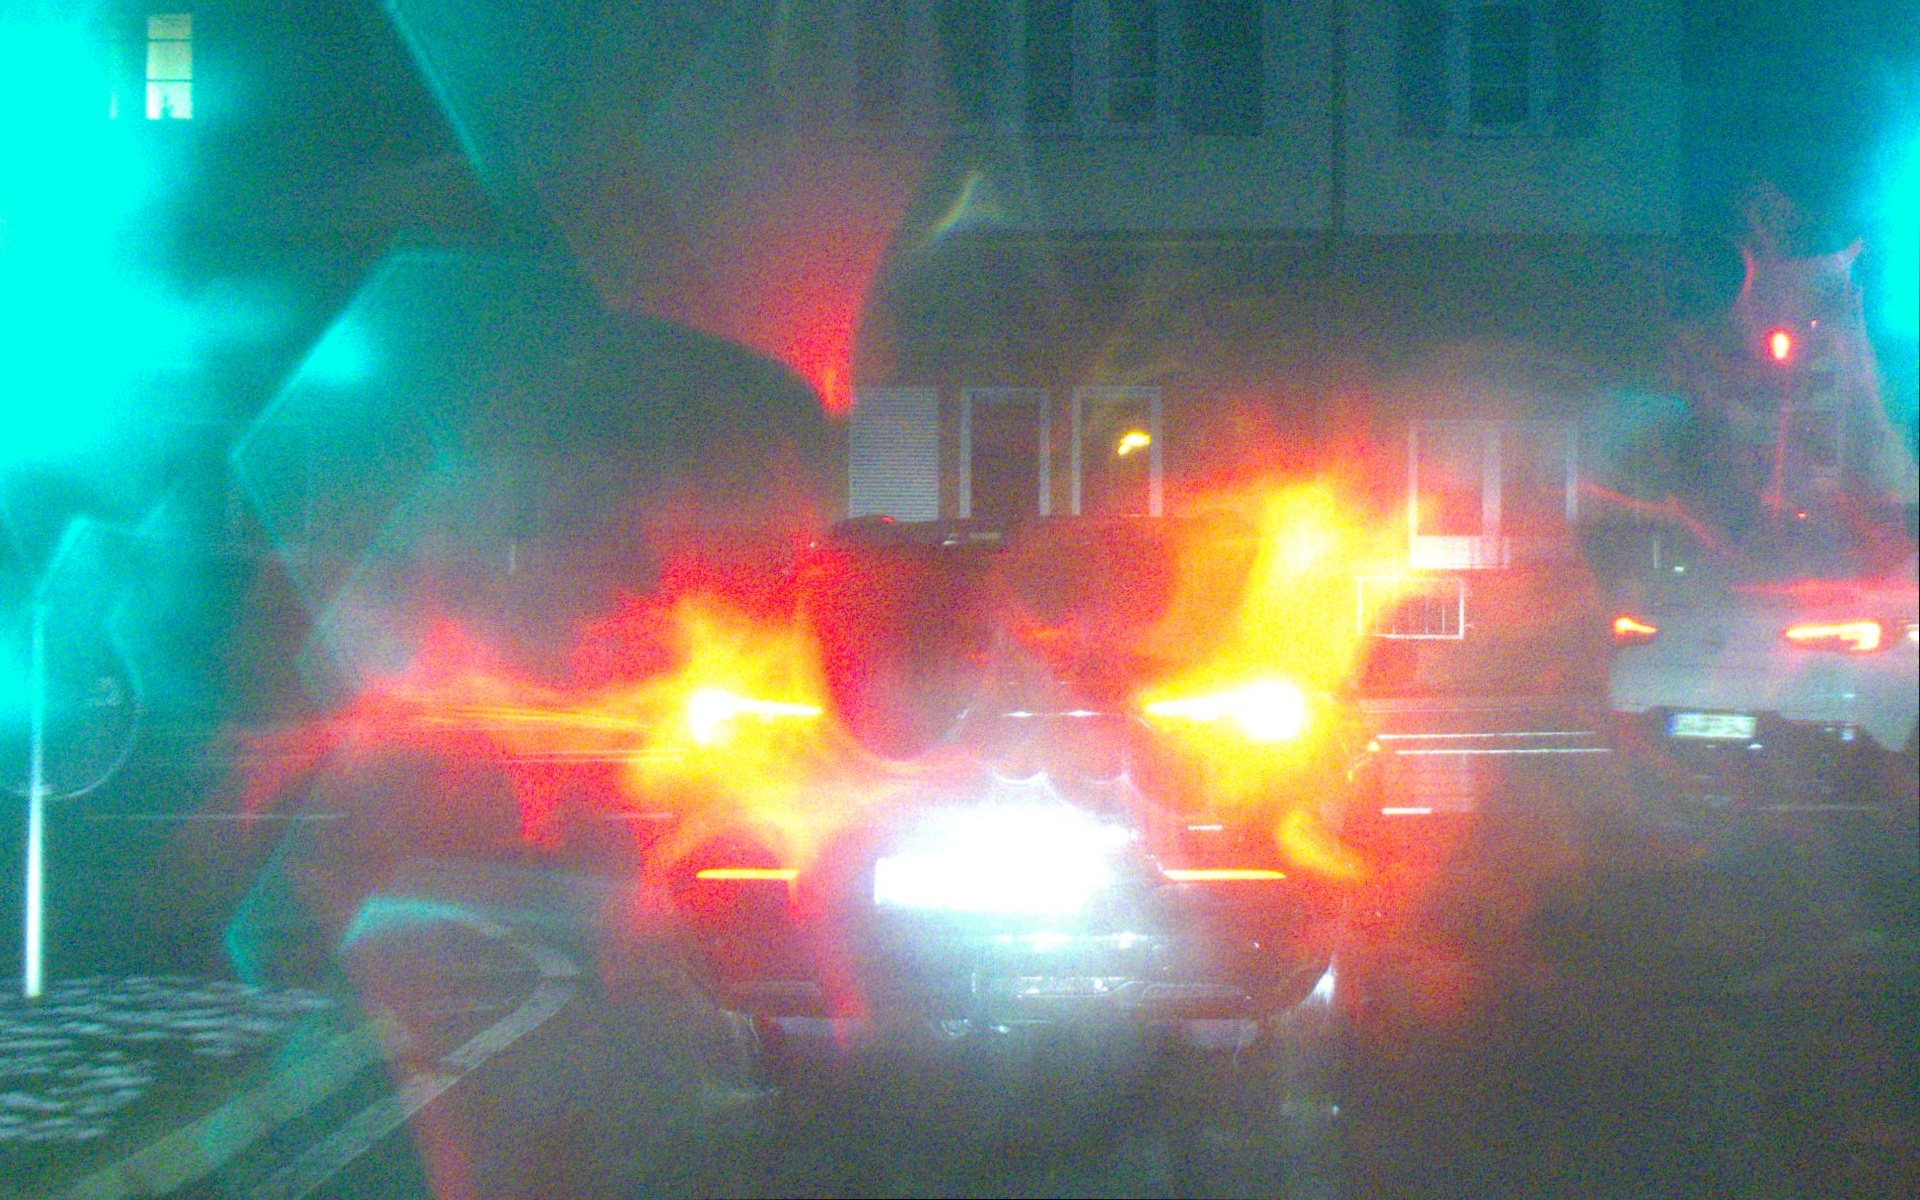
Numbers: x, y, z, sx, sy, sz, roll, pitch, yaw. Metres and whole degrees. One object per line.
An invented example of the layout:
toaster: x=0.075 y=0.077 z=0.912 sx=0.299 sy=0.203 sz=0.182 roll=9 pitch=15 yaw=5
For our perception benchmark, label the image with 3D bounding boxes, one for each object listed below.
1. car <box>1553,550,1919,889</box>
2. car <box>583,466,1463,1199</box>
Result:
car: x=5.141 y=0.511 z=17.387 sx=4.228 sy=1.505 sz=1.915 roll=0 pitch=1 yaw=-39
car: x=0.347 y=0.550 z=10.355 sx=2.058 sy=1.672 sz=4.138 roll=3 pitch=0 yaw=6
